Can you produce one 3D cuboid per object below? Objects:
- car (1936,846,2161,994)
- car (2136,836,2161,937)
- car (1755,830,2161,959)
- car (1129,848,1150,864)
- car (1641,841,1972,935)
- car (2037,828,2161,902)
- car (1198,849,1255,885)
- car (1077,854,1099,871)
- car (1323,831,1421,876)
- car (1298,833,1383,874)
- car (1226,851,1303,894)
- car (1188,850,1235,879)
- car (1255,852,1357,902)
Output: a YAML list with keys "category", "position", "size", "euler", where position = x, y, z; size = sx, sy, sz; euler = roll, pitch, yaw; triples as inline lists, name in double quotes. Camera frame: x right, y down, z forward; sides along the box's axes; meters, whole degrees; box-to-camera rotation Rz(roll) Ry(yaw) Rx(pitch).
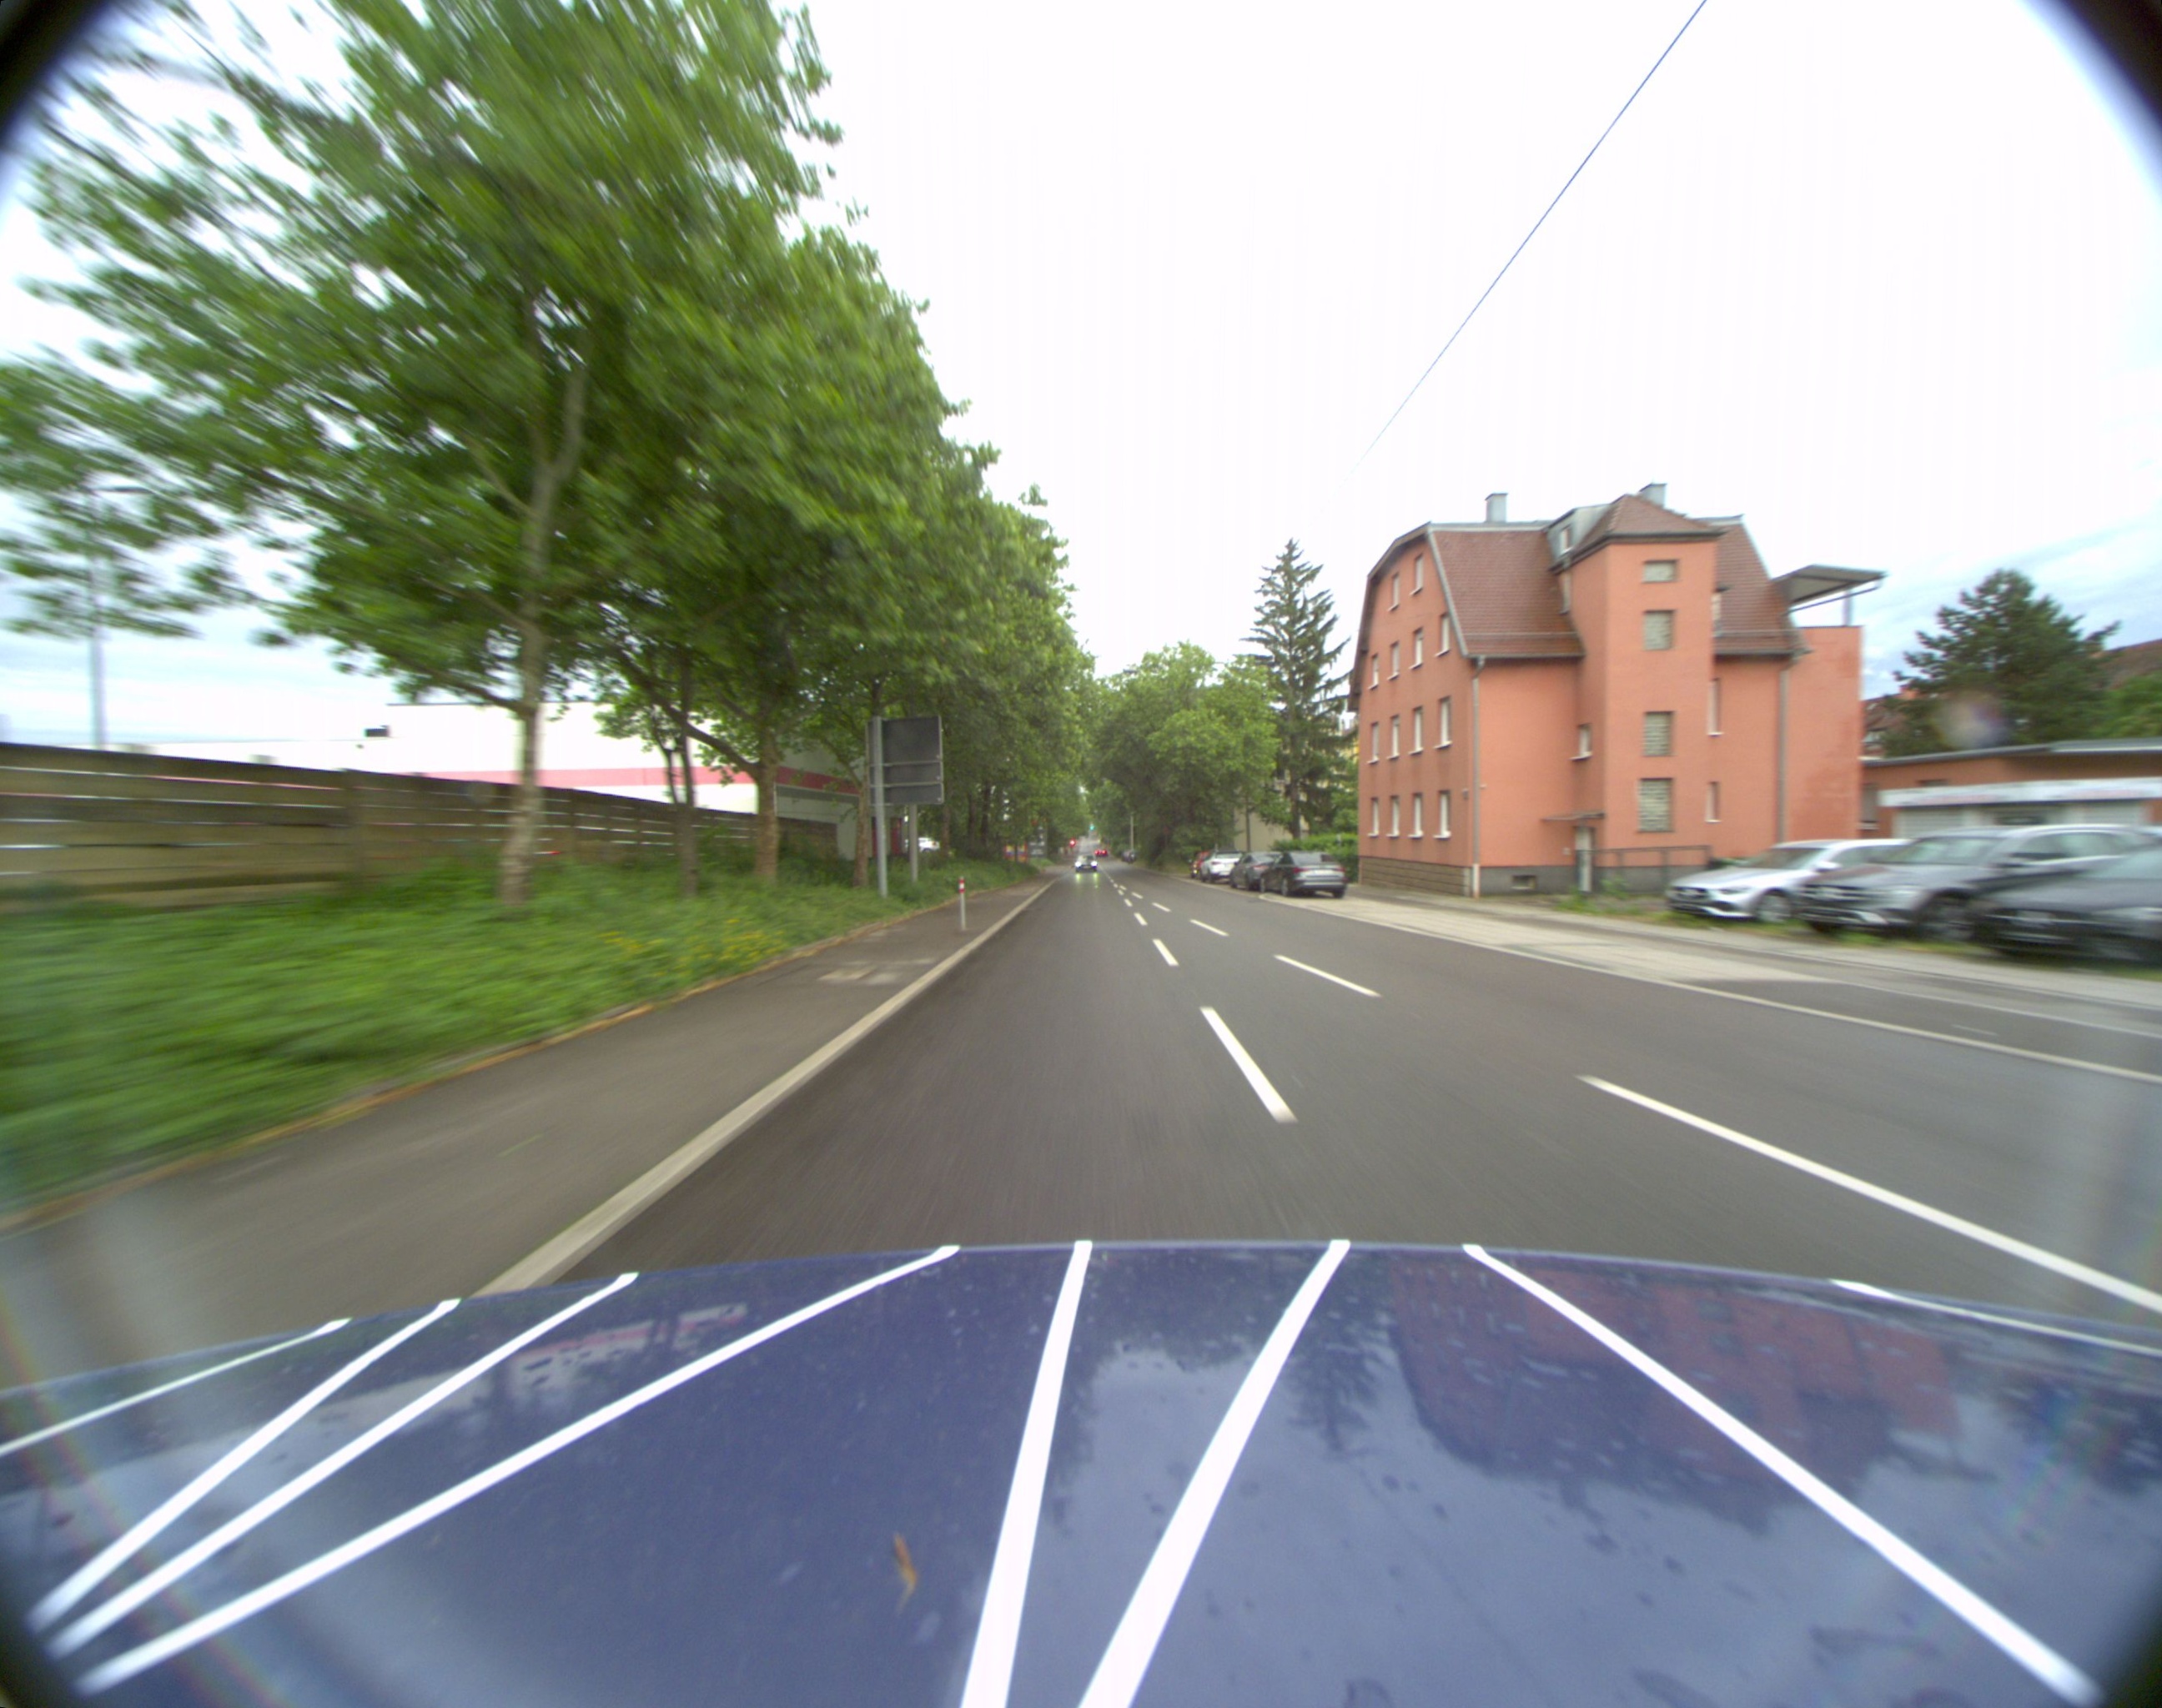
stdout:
- category: "car"
  position: [13.363, 0.663, 9.026]
  size: [4.135, 1.455, 1.896]
  euler: [-3, 0, 2]
- category: "car"
  position: [17.537, 0.494, 9.996]
  size: [1.785, 1.553, 4.000]
  euler: [-1, 0, 1]
- category: "car"
  position: [13.710, 0.565, 11.737]
  size: [4.542, 1.599, 2.153]
  euler: [-3, 0, 3]
- category: "car"
  position: [5.910, 0.180, 77.428]
  size: [1.842, 1.631, 4.194]
  euler: [-1, 0, 1]
- category: "car"
  position: [13.363, 0.600, 14.244]
  size: [4.171, 1.425, 2.000]
  euler: [-3, 0, 3]
- category: "car"
  position: [22.562, 0.199, 15.079]
  size: [1.998, 1.425, 4.176]
  euler: [-3, 0, 3]
- category: "car"
  position: [6.629, 0.558, 35.066]
  size: [1.816, 1.537, 4.198]
  euler: [2, 0, 0]
- category: "car"
  position: [0.593, 0.703, 65.409]
  size: [1.842, 1.403, 4.000]
  euler: [-1, 0, 1]
- category: "car"
  position: [14.204, -0.021, 37.265]
  size: [3.997, 2.002, 2.000]
  euler: [-2, 1, -1]
- category: "car"
  position: [13.983, -0.051, 41.083]
  size: [3.994, 2.002, 2.001]
  euler: [-2, 1, 8]
- category: "car"
  position: [6.823, 0.634, 28.689]
  size: [1.816, 1.443, 4.198]
  euler: [-1, 0, -1]
- category: "car"
  position: [6.915, 0.538, 40.656]
  size: [1.816, 1.425, 4.198]
  euler: [-1, 0, 0]
- category: "car"
  position: [6.933, 0.659, 23.872]
  size: [1.789, 1.402, 4.197]
  euler: [1, 0, -2]
